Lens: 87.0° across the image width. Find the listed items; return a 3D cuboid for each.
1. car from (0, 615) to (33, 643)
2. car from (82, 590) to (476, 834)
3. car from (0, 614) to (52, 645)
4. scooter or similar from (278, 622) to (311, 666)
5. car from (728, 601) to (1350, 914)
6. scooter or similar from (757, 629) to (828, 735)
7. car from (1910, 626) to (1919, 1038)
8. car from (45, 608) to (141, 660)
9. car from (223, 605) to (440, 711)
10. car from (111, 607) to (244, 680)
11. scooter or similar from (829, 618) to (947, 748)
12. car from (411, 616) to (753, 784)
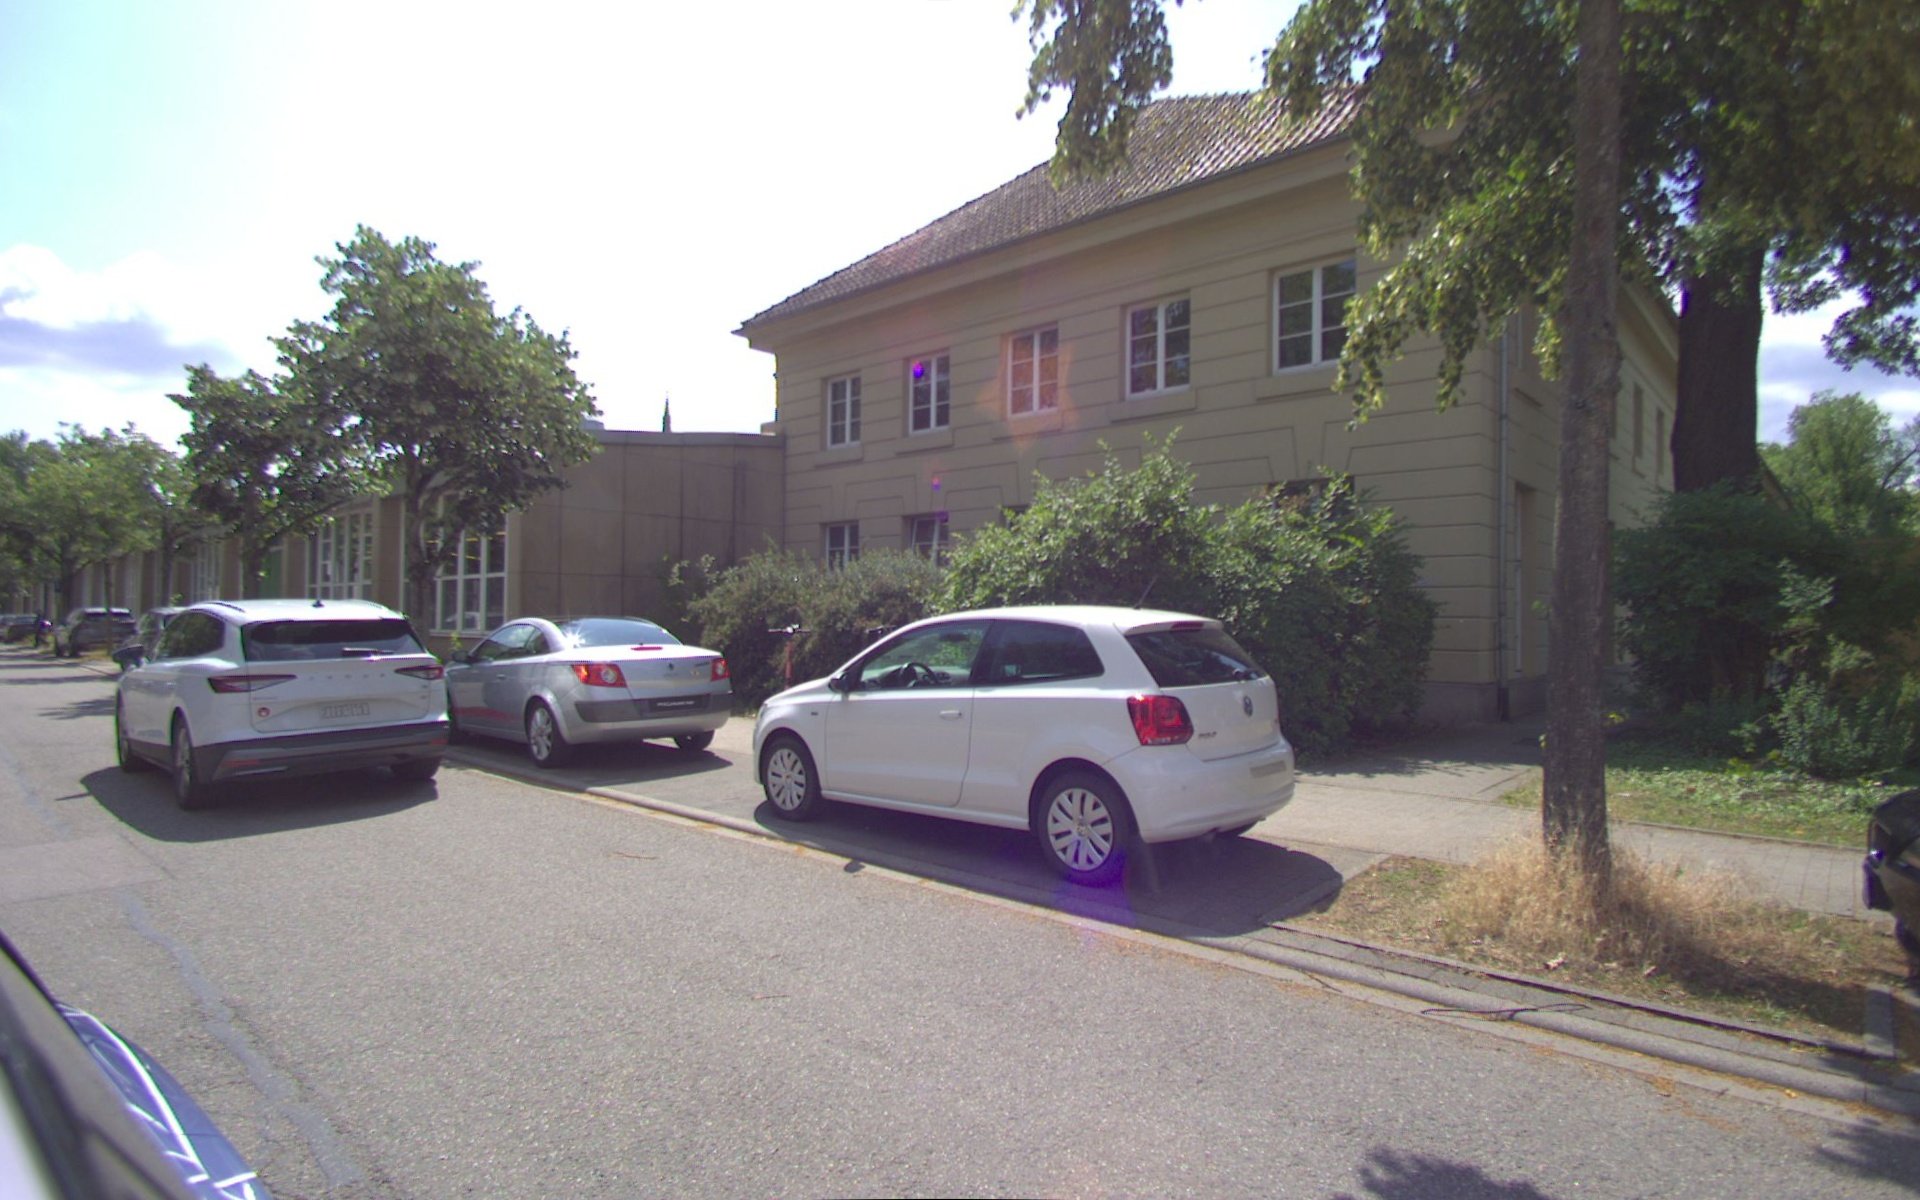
[{"bbox_3d":[-51.362,1.548,54.618,3.752,1.460,1.612,-1,1,42],"label":"car"},{"bbox_3d":[-6.308,0.750,9.146,4.519,1.631,1.898,0,2,42],"label":"car"},{"bbox_3d":[-47.058,1.472,50.842,4.288,1.446,1.707,-2,-1,42],"label":"car"},{"bbox_3d":[-18.306,1.203,27.826,1.215,1.178,0.500,-1,0,43],"label":"scooter or similar"},{"bbox_3d":[0.298,0.749,6.538,3.807,1.422,1.644,-1,-1,43],"label":"car"},{"bbox_3d":[-2.014,0.940,12.076,0.463,1.180,1.231,1,-1,-27],"label":"scooter or similar"},{"bbox_3d":[5.024,0.733,2.462,3.929,1.310,1.626,-1,-2,44],"label":"car"},{"bbox_3d":[-29.862,1.107,34.817,4.514,1.644,1.803,-1,0,40],"label":"car"},{"bbox_3d":[-10.265,0.835,16.384,4.581,1.467,1.707,-1,0,41],"label":"car"},{"bbox_3d":[-18.654,0.974,24.079,4.111,1.568,1.739,-1,0,41],"label":"car"},{"bbox_3d":[-0.776,0.861,10.735,1.229,1.298,0.518,-2,-6,43],"label":"scooter or similar"},{"bbox_3d":[-4.060,0.872,10.494,4.167,1.354,1.706,-1,0,44],"label":"car"}]
